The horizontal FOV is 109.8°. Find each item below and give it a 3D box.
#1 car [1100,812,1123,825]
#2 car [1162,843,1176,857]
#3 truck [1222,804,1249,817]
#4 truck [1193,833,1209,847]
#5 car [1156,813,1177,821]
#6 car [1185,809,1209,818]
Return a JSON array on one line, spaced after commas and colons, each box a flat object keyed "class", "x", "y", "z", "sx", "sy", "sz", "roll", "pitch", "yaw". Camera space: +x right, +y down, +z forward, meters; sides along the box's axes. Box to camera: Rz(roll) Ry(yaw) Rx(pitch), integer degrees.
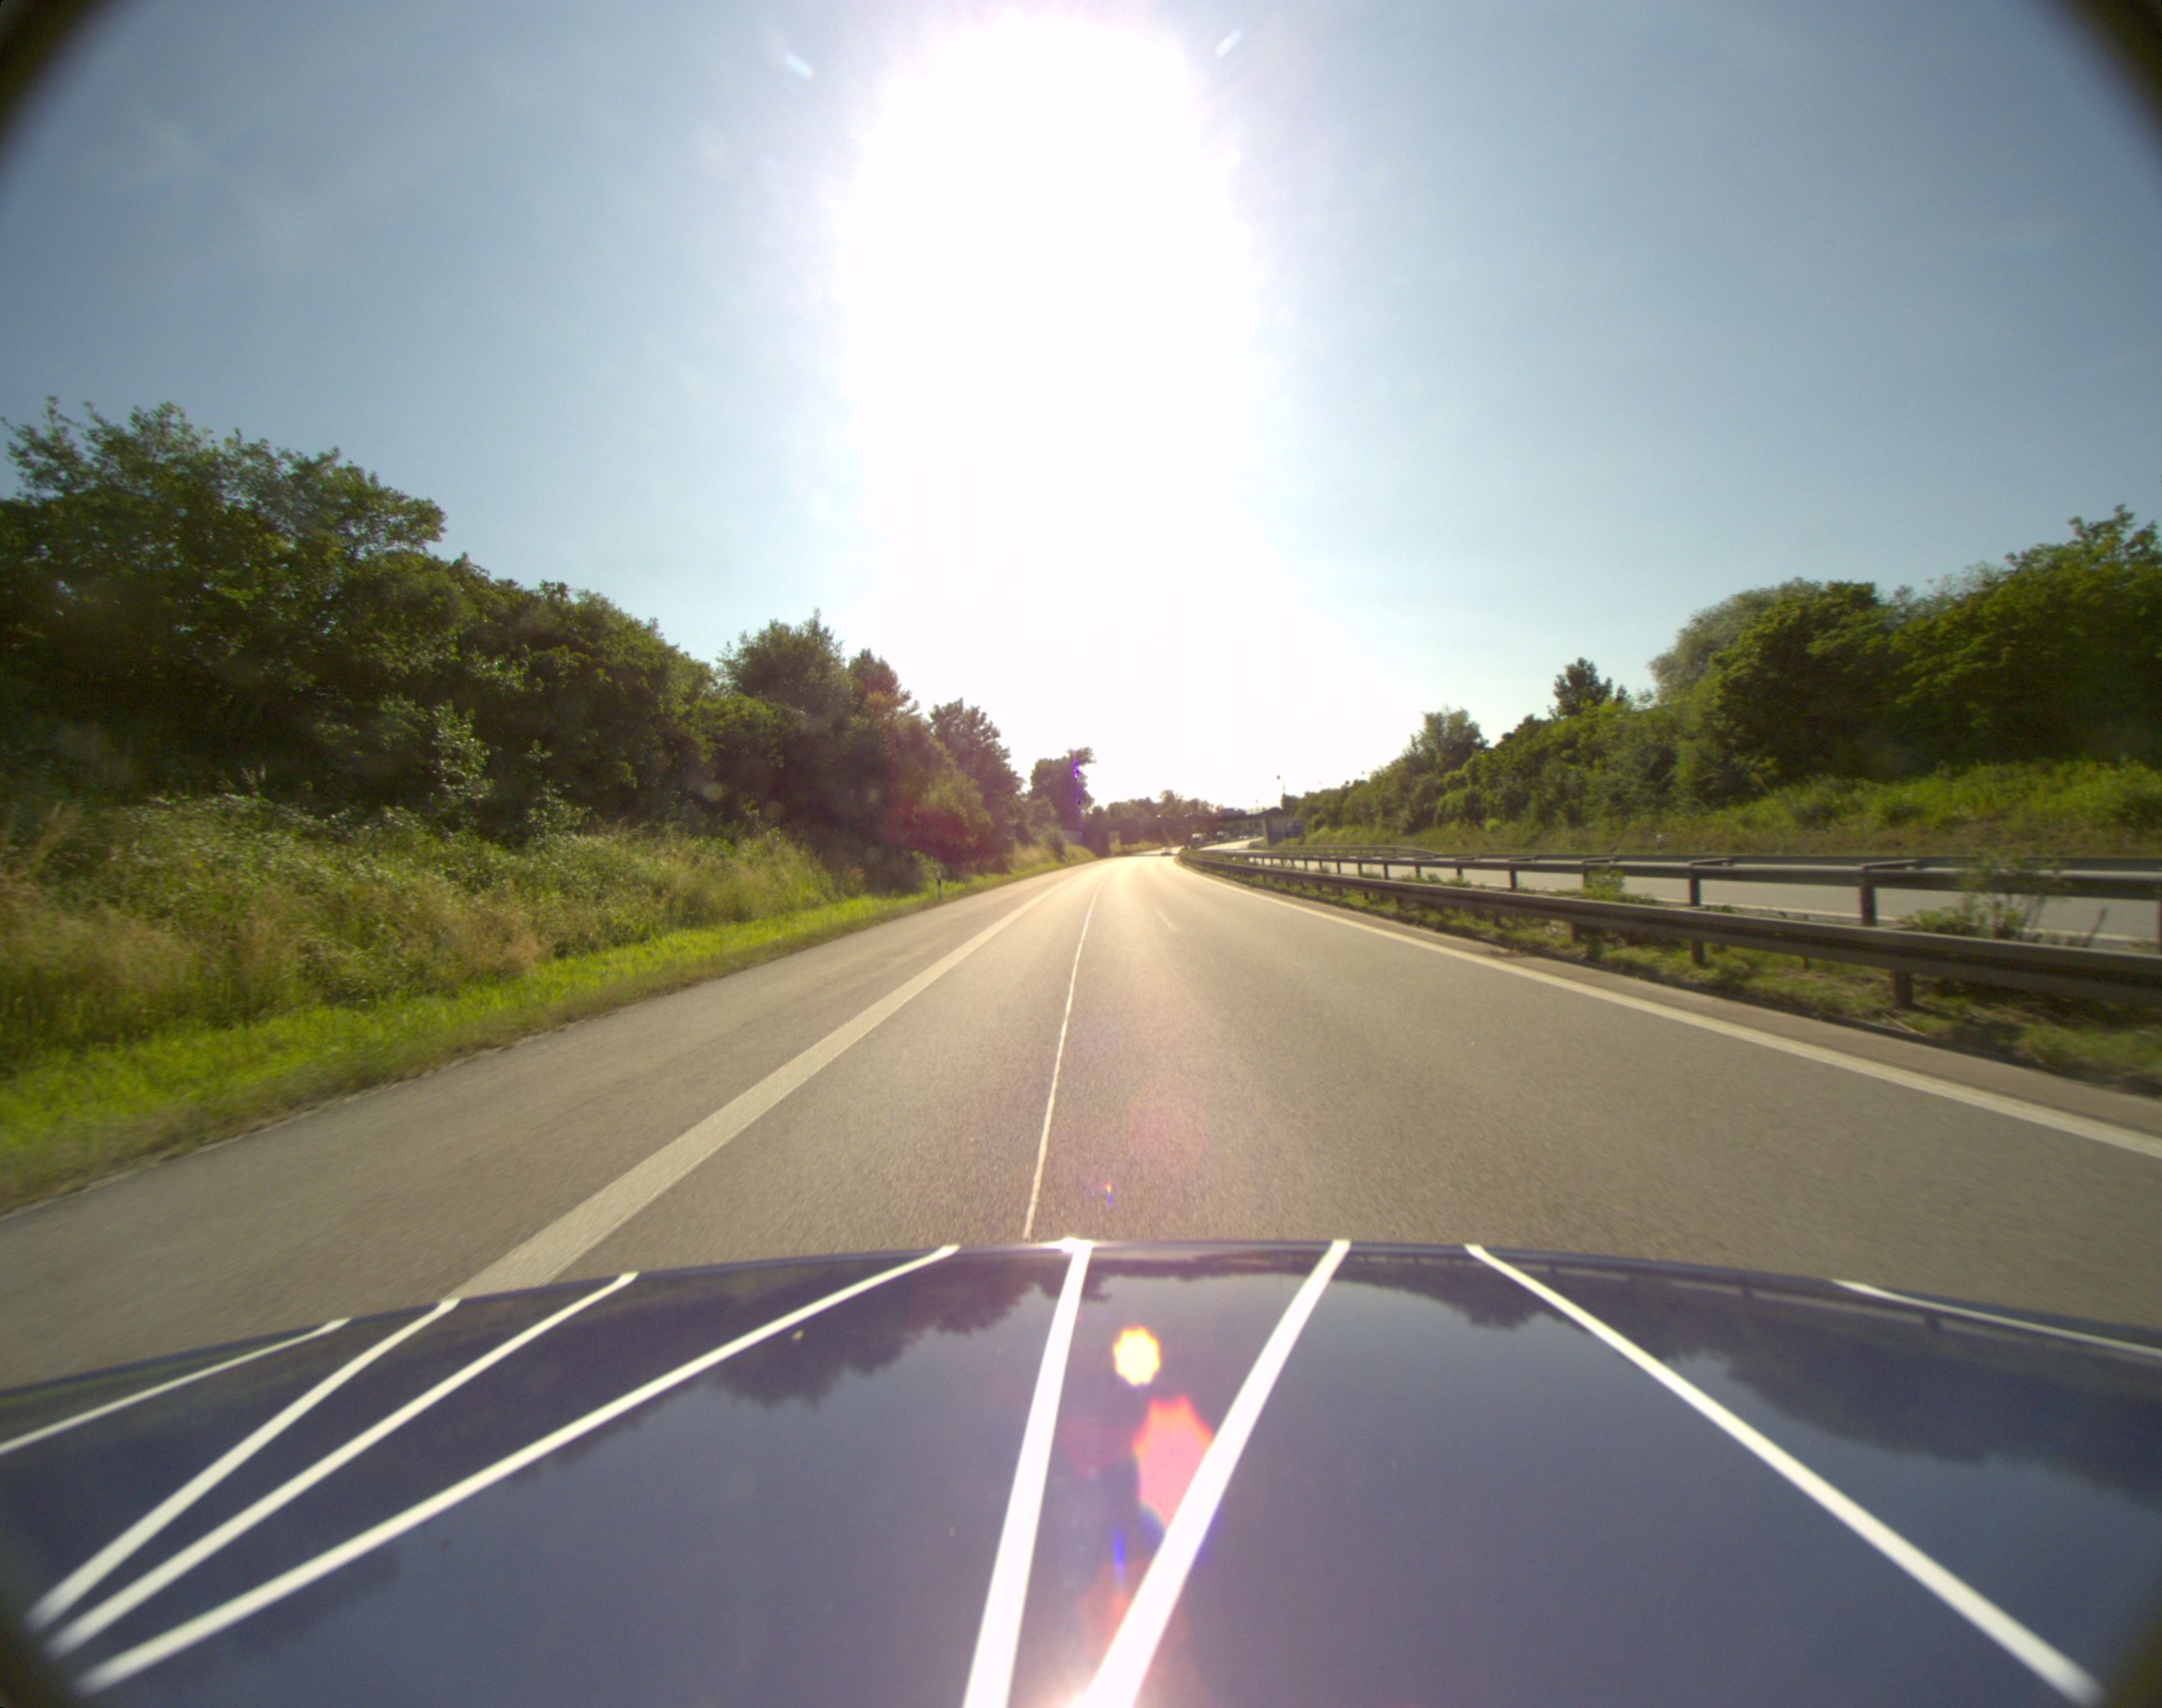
[{"class": "car", "x": 5.623, "y": -6.631, "z": 141.628, "sx": 3.994, "sy": 2.088, "sz": 1.740, "roll": -2, "pitch": 2, "yaw": 11}, {"class": "car", "x": 14.558, "y": -0.693, "z": 125.584, "sx": 1.997, "sy": 2.002, "sz": 4.602, "roll": -5, "pitch": 0, "yaw": 9}, {"class": "truck", "x": 28.918, "y": -8.202, "z": 142.468, "sx": 4.864, "sy": 2.155, "sz": 2.001, "roll": -2, "pitch": 2, "yaw": 10}, {"class": "truck", "x": 39.485, "y": -4.697, "z": 249.488, "sx": 3.430, "sy": 4.188, "sz": 12.097, "roll": -2, "pitch": 2, "yaw": 18}, {"class": "car", "x": 16.313, "y": -7.097, "z": 144.143, "sx": 3.841, "sy": 1.298, "sz": 1.825, "roll": -2, "pitch": 2, "yaw": 9}, {"class": "car", "x": 21.939, "y": -7.611, "z": 143.718, "sx": 4.436, "sy": 1.547, "sz": 1.907, "roll": -2, "pitch": 2, "yaw": 9}]
